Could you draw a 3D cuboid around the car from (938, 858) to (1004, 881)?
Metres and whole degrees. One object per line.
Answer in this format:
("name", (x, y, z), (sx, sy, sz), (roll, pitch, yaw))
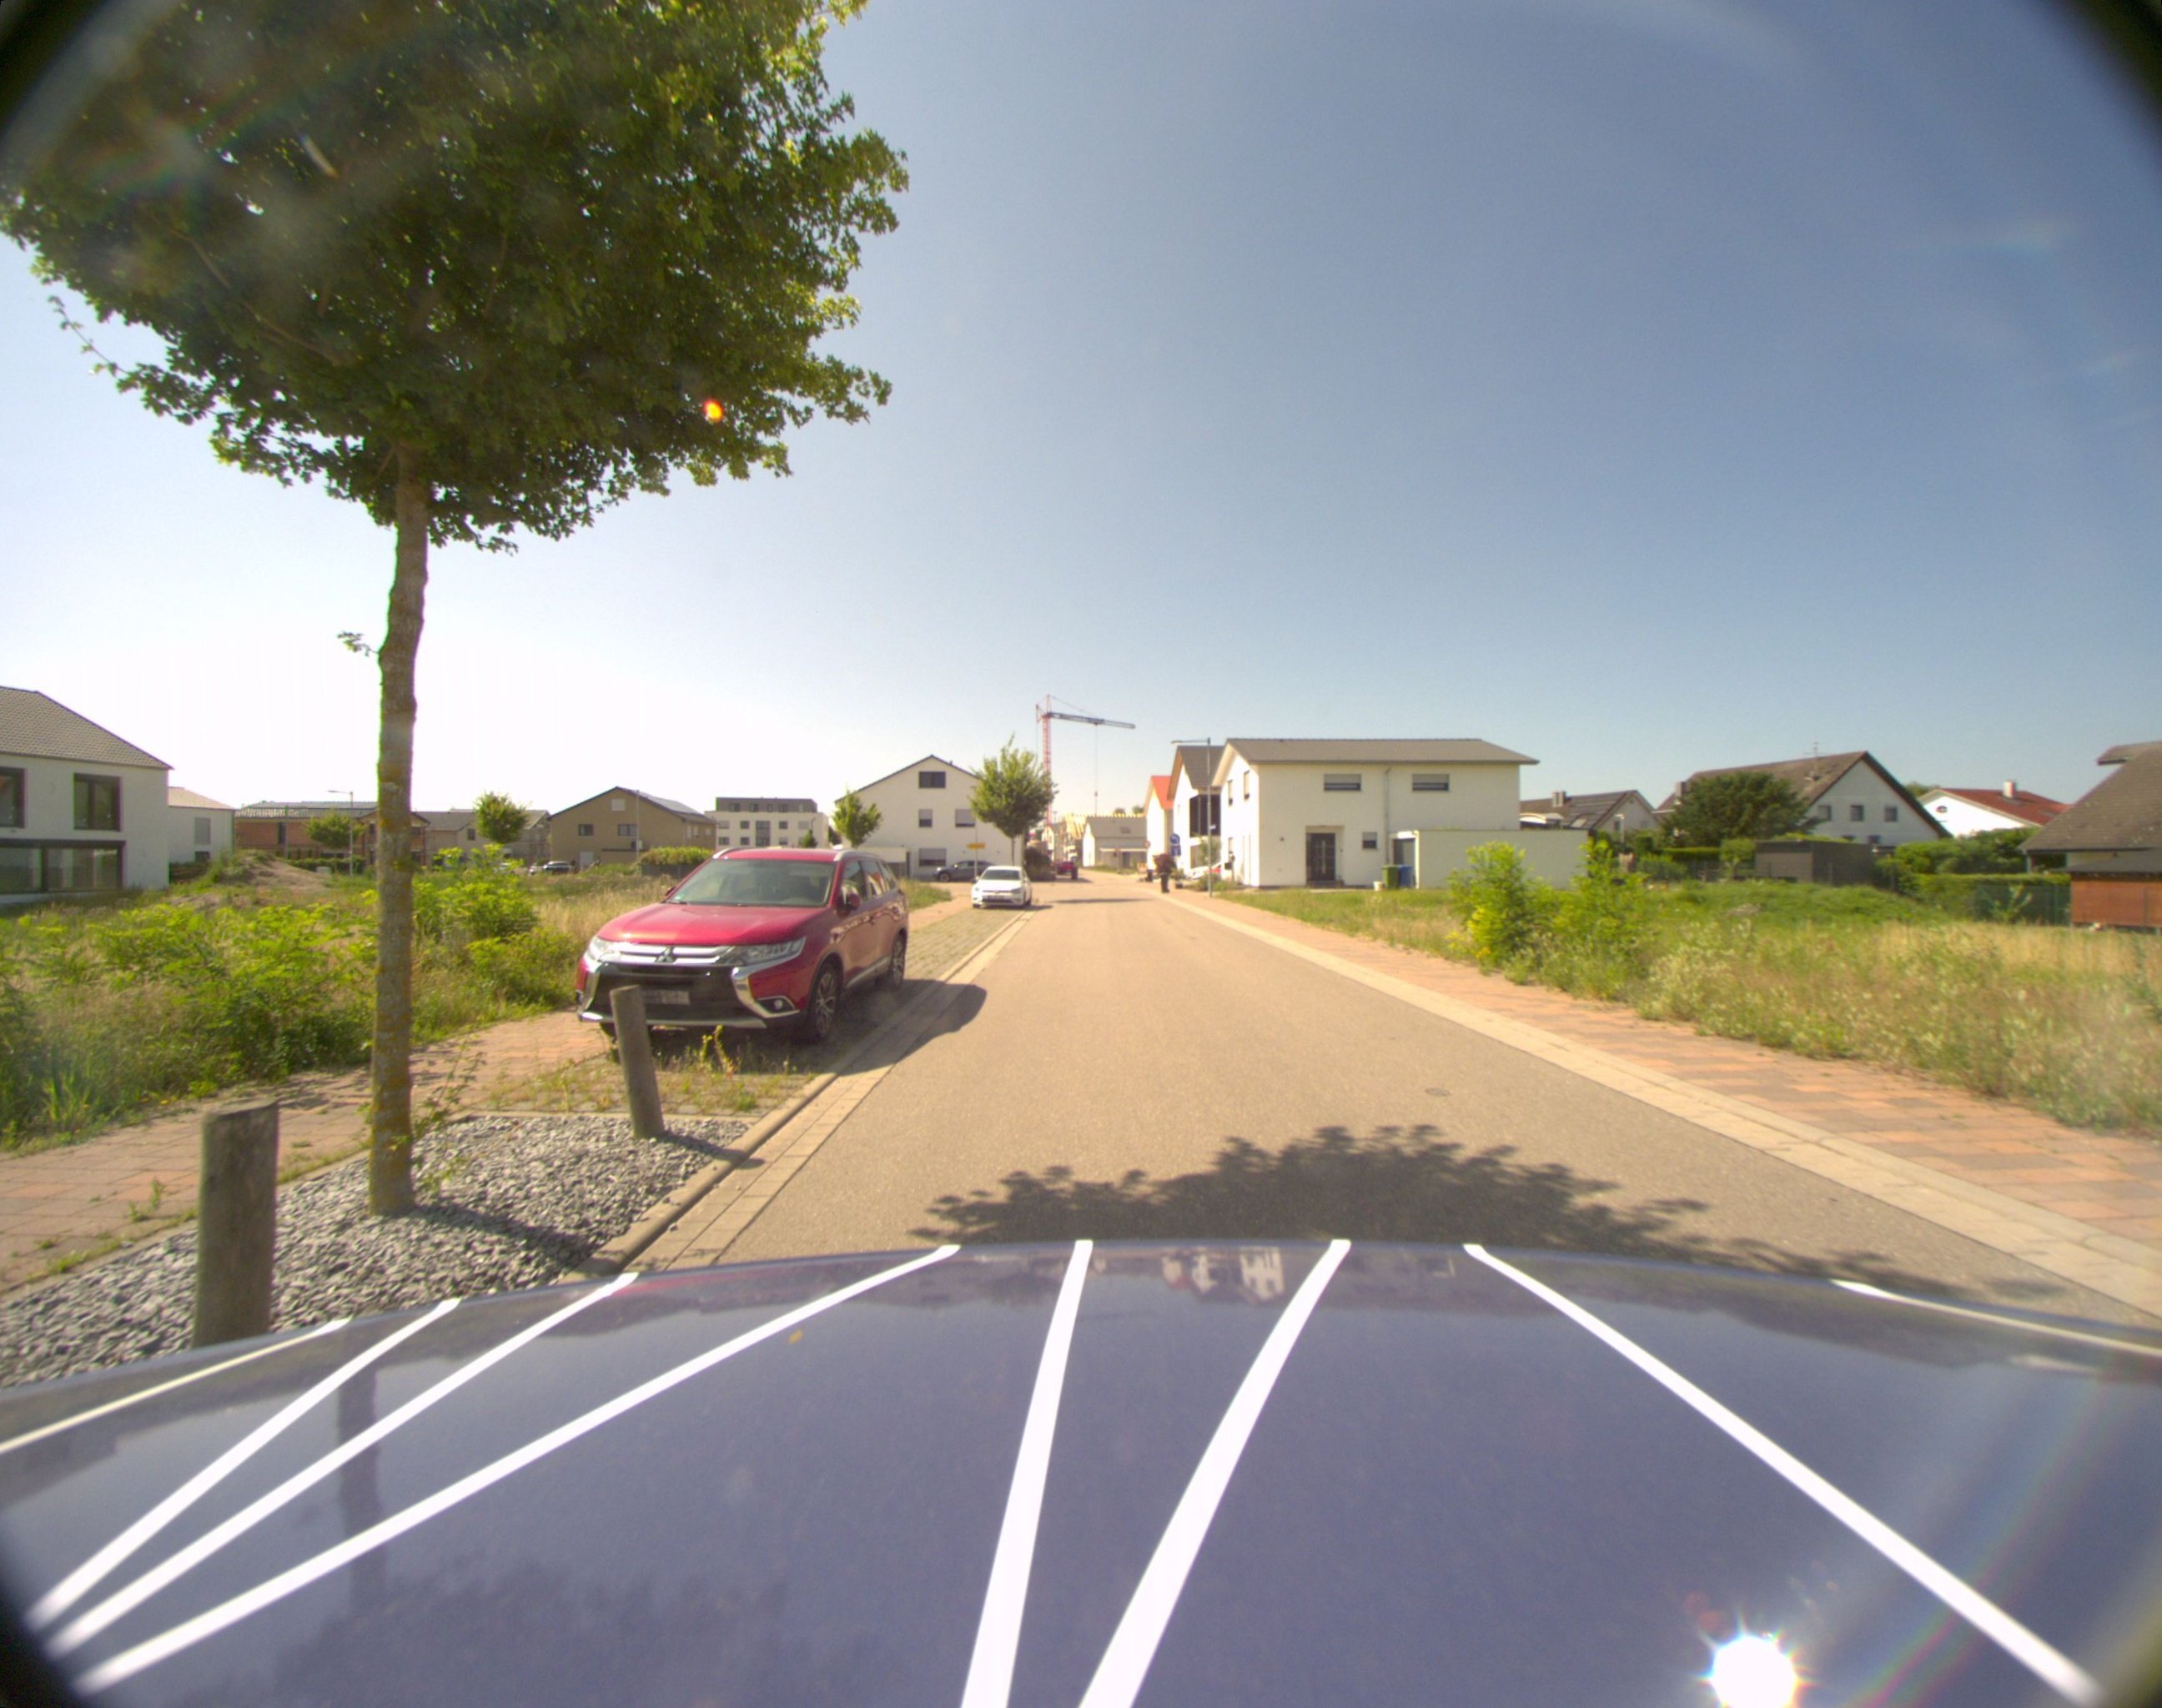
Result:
("car", (-7.633, 1.073, 53.131), (4.348, 1.549, 1.960), (0, -1, -2))

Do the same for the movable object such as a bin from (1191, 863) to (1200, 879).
("movable object such as a bin", (8.080, 1.207, 53.647), (0.500, 1.085, 0.601), (-1, -1, -4))

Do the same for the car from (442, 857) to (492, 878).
("car", (-59.554, 1.247, 73.746), (2.000, 2.002, 3.997), (0, 0, -9))

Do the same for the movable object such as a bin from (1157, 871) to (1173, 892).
("movable object such as a bin", (3.994, 1.305, 36.141), (0.625, 0.943, 0.500), (-1, 1, -5))

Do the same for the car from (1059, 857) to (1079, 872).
("car", (-1.284, 1.065, 80.750), (1.912, 1.470, 3.998), (0, 1, -4))

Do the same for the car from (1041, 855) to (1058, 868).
("car", (-4.150, 0.931, 100.197), (1.804, 1.609, 3.672), (-1, 1, -10))

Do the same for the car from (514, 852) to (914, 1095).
("car", (-3.011, 0.850, 7.454), (1.781, 1.653, 4.434), (1, -1, 0))

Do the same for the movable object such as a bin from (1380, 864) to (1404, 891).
("movable object such as a bin", (12.812, 0.948, 31.348), (0.661, 1.092, 0.785), (1, 0, -1))

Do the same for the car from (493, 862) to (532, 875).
("car", (-60.432, 1.526, 80.875), (1.668, 1.392, 3.917), (0, 0, -9))

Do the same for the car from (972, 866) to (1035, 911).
("car", (-2.689, 1.179, 27.216), (1.780, 1.411, 4.166), (1, -1, 1))

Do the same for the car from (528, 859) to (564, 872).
("car", (-61.354, 1.309, 87.192), (1.750, 1.493, 3.997), (0, 0, -9))

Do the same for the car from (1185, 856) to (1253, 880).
("car", (9.155, 0.935, 50.608), (4.164, 1.553, 1.744), (0, 0, -5))

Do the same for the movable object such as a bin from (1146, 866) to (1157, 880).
("movable object such as a bin", (4.918, 1.342, 52.997), (0.618, 0.931, 0.564), (-1, 0, -4))

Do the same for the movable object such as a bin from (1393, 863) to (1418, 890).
("movable object such as a bin", (13.440, 0.942, 31.475), (0.671, 1.092, 0.808), (1, 0, 1))

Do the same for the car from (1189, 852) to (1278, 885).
("car", (8.856, 0.809, 44.334), (4.749, 1.864, 1.938), (0, 0, -3))

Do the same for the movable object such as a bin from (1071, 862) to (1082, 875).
("movable object such as a bin", (-0.384, 1.218, 62.846), (0.824, 1.058, 0.589), (-1, 1, -5))
